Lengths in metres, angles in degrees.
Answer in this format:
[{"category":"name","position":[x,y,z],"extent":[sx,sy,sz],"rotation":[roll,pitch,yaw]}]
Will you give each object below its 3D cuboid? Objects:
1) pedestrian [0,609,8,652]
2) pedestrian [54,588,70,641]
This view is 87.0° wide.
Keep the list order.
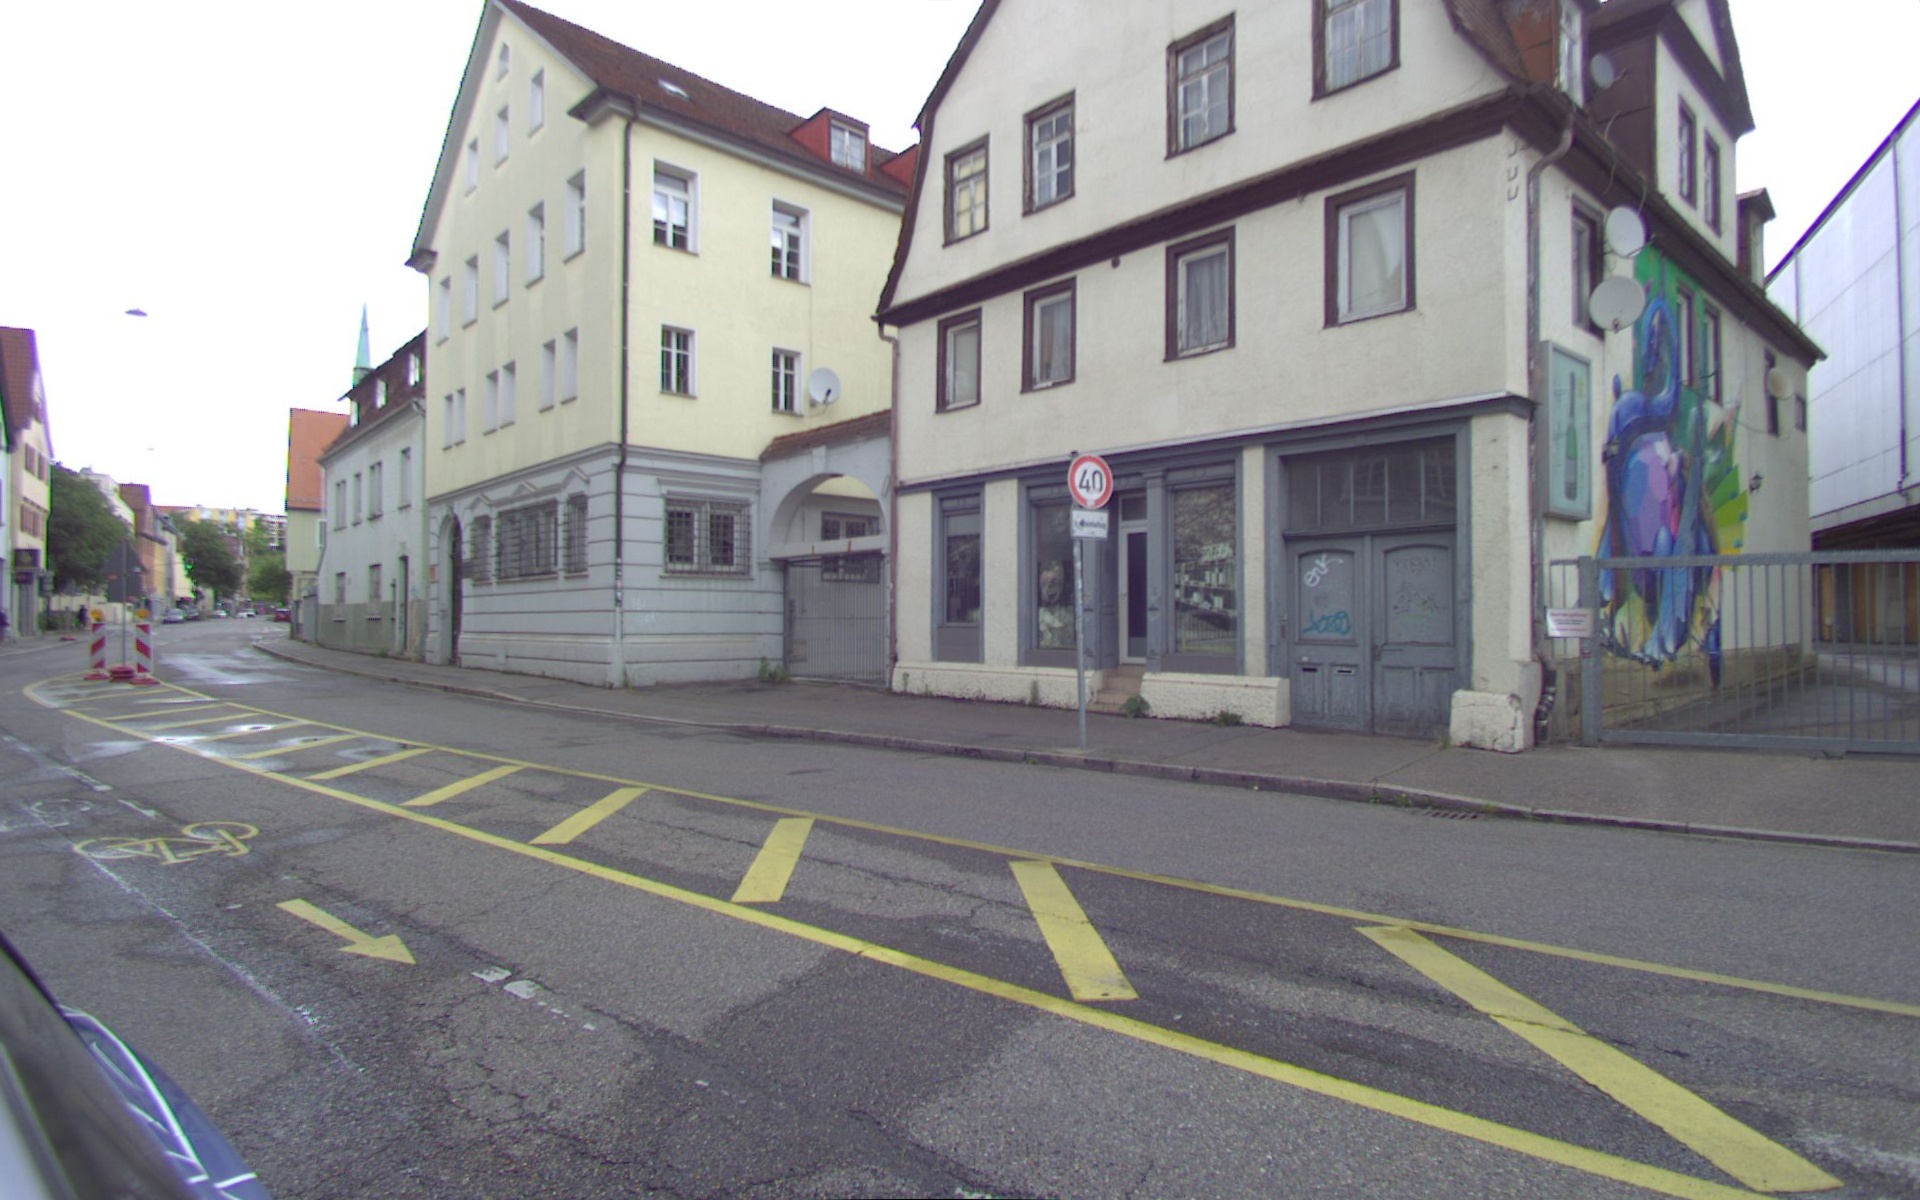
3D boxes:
[{"category":"pedestrian","position":[-36.994,1.166,38.709],"extent":[0.714,1.626,0.650],"rotation":[1,-2,-37]},{"category":"pedestrian","position":[-43.727,0.716,49.278],"extent":[0.487,2.547,0.747],"rotation":[1,-2,-38]}]
